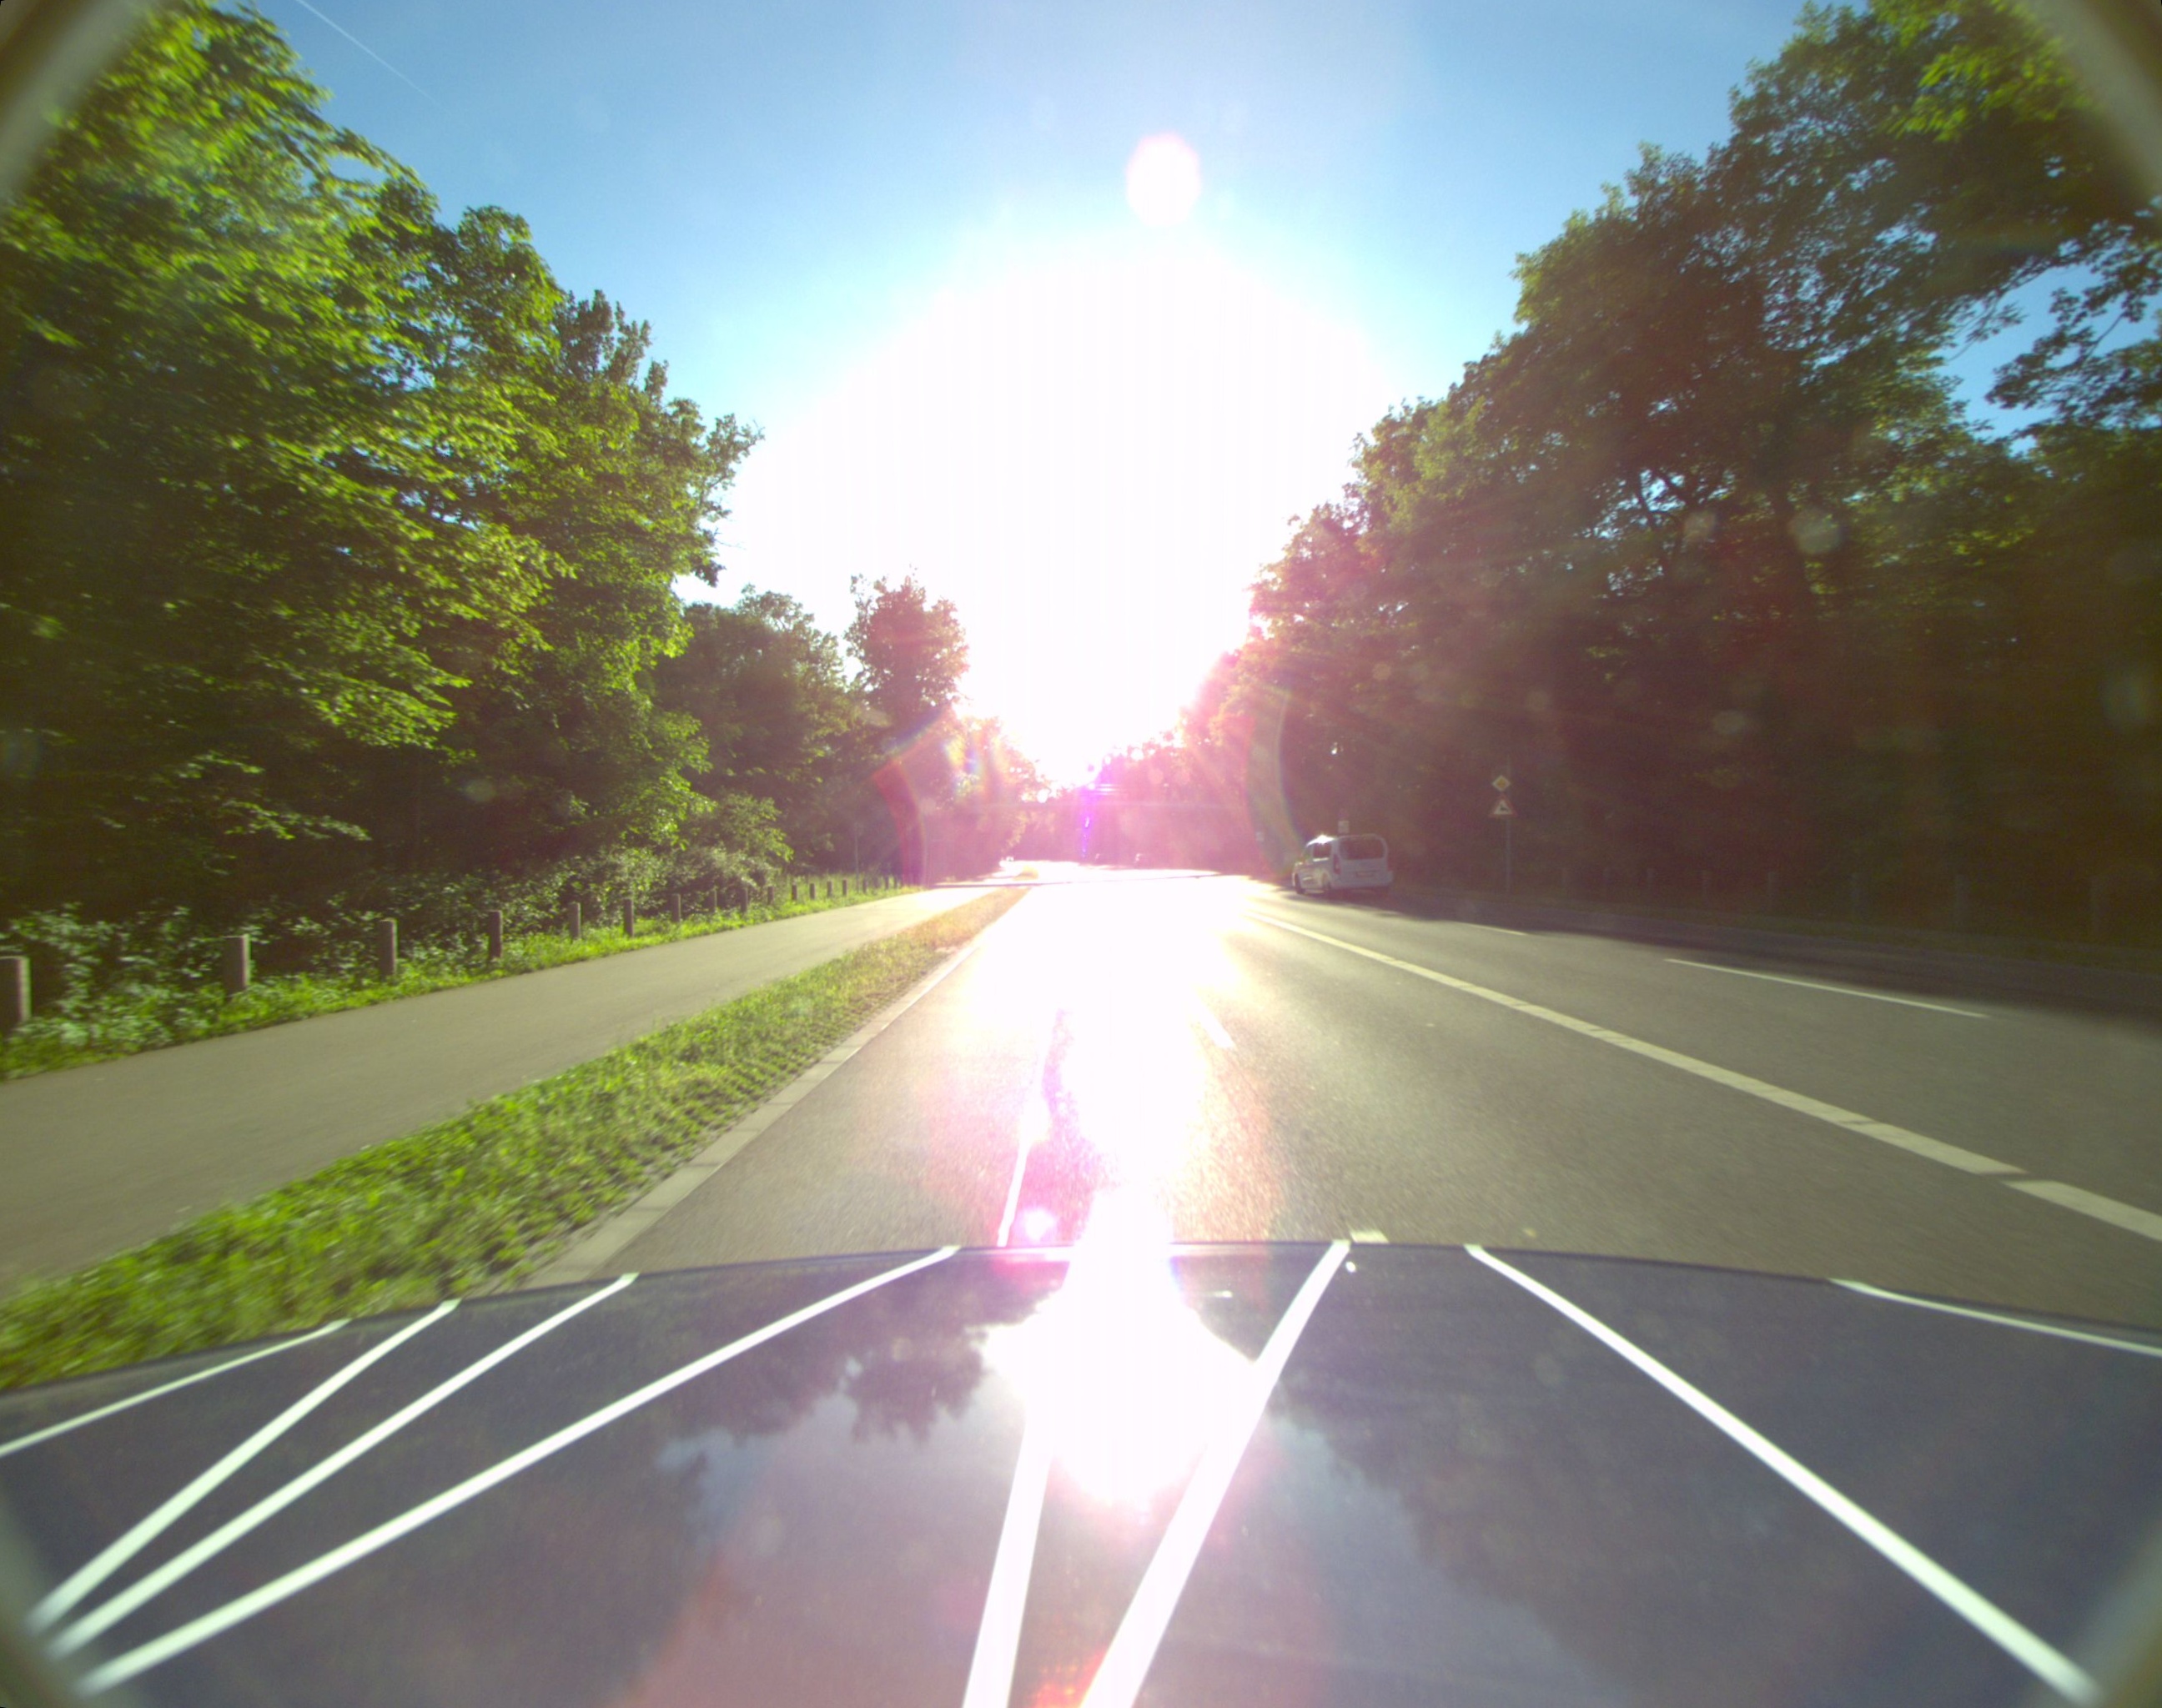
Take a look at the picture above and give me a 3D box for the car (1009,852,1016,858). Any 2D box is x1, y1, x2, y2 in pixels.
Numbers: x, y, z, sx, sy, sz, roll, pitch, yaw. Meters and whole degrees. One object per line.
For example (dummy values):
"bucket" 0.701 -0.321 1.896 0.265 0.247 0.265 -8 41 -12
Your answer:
"car" -22.274 0.309 247.202 1.827 1.674 3.997 -1 0 -8

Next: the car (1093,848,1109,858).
"car" 3.149 -0.174 119.725 1.847 1.539 3.997 -2 0 -8

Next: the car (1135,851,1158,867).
"car" 6.572 0.520 76.293 1.517 1.457 4.312 -3 0 -4

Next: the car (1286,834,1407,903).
"car" 8.094 0.395 23.742 2.006 1.815 4.999 -3 0 0
